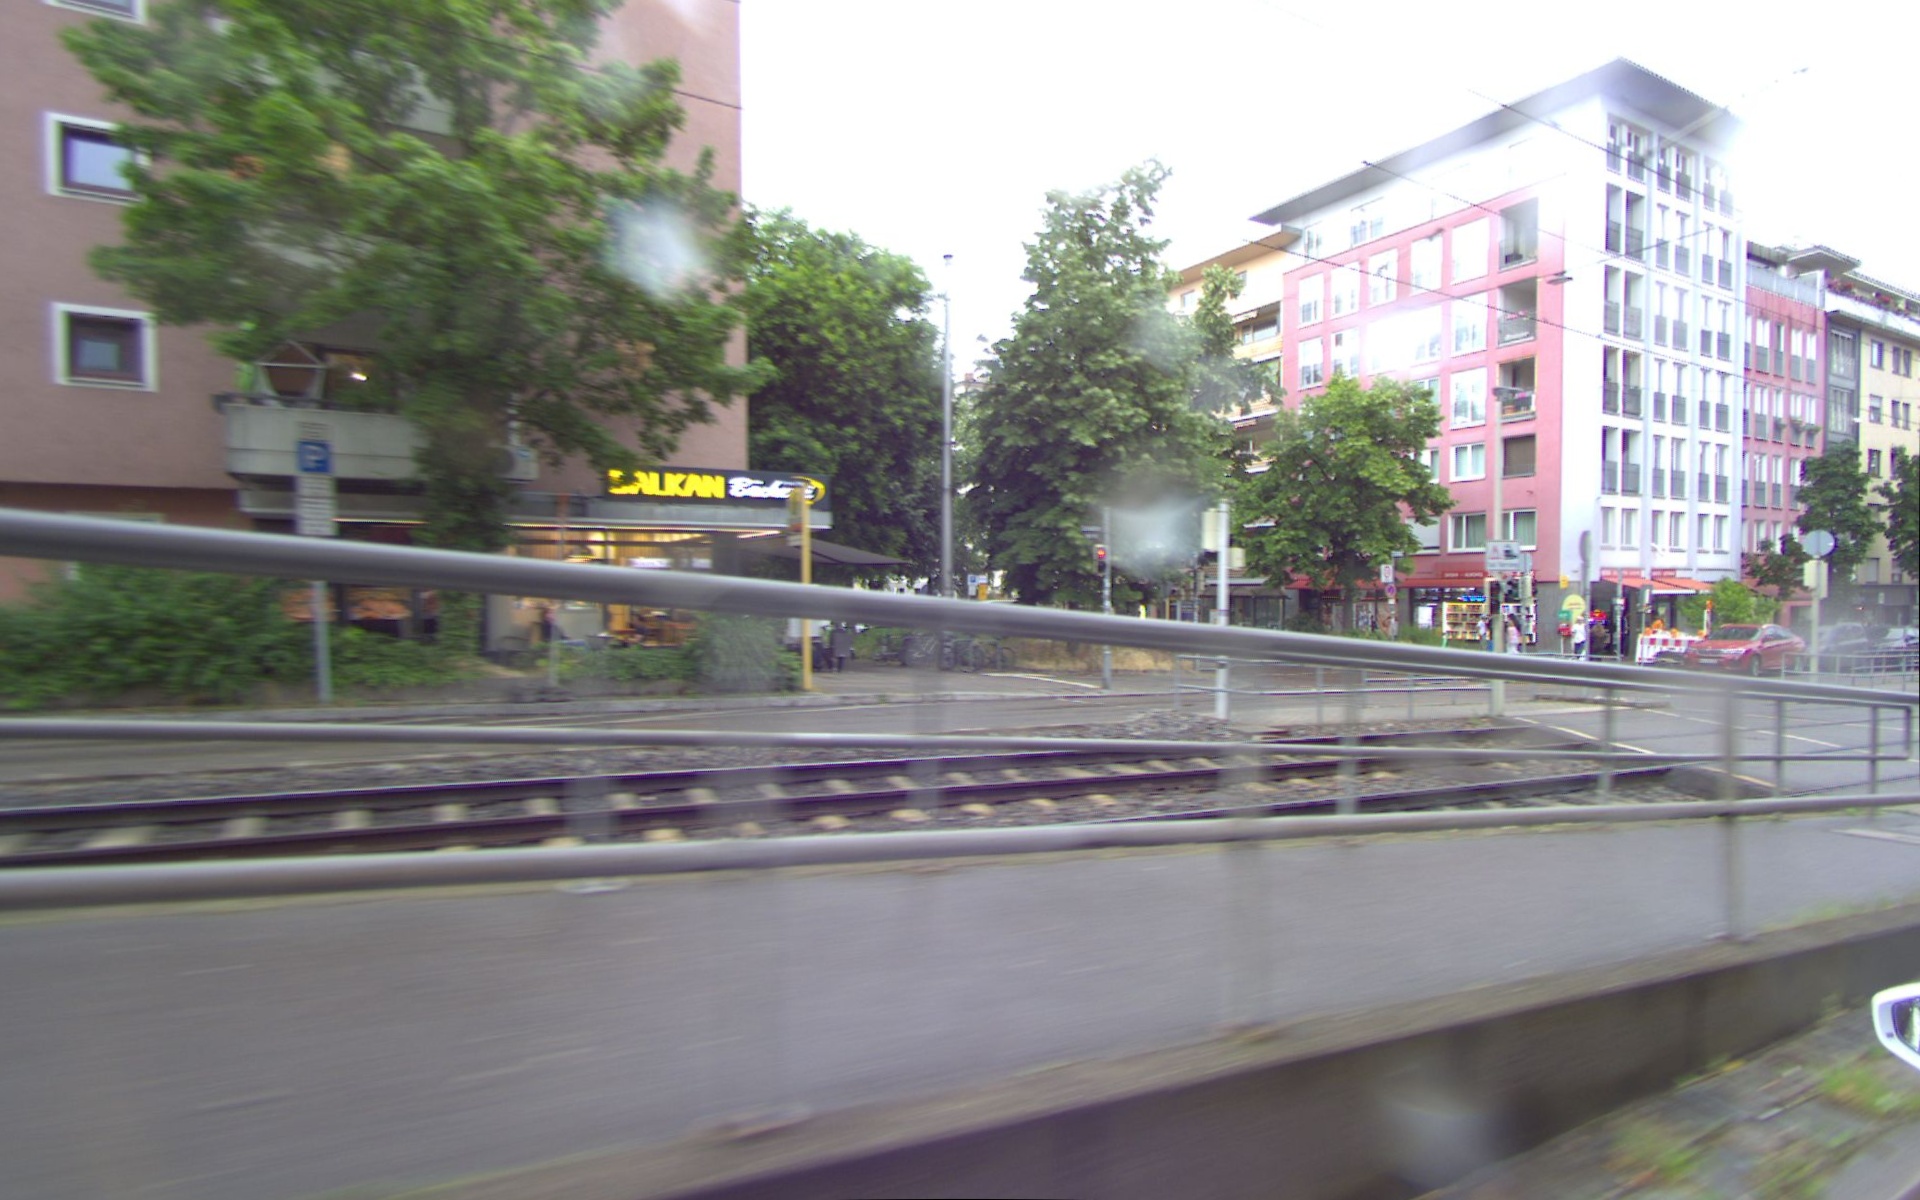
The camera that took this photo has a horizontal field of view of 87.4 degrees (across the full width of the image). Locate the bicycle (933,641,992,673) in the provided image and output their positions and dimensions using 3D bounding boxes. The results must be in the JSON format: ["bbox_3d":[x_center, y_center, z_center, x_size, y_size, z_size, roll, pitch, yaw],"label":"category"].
[{"bbox_3d":[0.082,1.537,27.010,1.627,0.827,0.337,2,-1,-31],"label":"bicycle"}]

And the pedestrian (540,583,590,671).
[{"bbox_3d":[-7.460,0.514,18.973,0.808,1.617,0.556,1,-1,-29],"label":"pedestrian"}]

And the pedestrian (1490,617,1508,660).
[{"bbox_3d":[21.238,1.507,39.565,0.535,1.653,0.574,2,1,24],"label":"pedestrian"}]

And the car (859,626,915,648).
[{"bbox_3d":[-4.807,2.396,65.488,2.072,1.392,4.416,2,-1,-28],"label":"car"}]

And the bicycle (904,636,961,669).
[{"bbox_3d":[-0.775,1.491,28.493,1.626,0.923,0.338,2,-1,-28],"label":"bicycle"}]

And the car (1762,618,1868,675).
[{"bbox_3d":[30.044,1.586,35.275,4.274,1.883,1.697,1,-1,-33],"label":"car"}]

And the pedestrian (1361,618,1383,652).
[{"bbox_3d":[17.556,1.475,42.799,0.644,1.424,0.556,1,1,-32],"label":"pedestrian"}]

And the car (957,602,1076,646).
[{"bbox_3d":[3.435,1.459,60.492,7.012,2.567,2.405,1,-1,-29],"label":"car"}]

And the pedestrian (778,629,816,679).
[{"bbox_3d":[-4.019,1.314,24.786,0.665,1.193,0.607,0,-1,28],"label":"pedestrian"}]

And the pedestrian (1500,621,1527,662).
[{"bbox_3d":[20.987,1.570,38.082,0.649,1.481,0.635,1,1,-32],"label":"pedestrian"}]

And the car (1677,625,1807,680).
[{"bbox_3d":[25.258,1.631,32.421,4.497,1.633,1.718,1,-1,-29],"label":"car"}]

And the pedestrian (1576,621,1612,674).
[{"bbox_3d":[20.517,1.516,32.522,0.791,1.653,0.882,-1,1,19],"label":"pedestrian"}]

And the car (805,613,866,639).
[{"bbox_3d":[-10.032,2.103,81.035,4.393,2.056,2.083,1,-1,-29],"label":"car"}]

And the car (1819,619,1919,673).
[{"bbox_3d":[33.924,1.678,37.414,4.333,1.883,1.792,1,-1,-33],"label":"car"}]

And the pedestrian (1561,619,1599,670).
[{"bbox_3d":[21.733,1.558,35.216,0.977,1.720,0.812,1,1,-38],"label":"pedestrian"}]

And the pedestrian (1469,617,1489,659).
[{"bbox_3d":[20.777,1.515,40.213,0.570,1.653,0.609,2,1,34],"label":"pedestrian"}]

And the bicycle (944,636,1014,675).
[{"bbox_3d":[0.503,1.443,26.053,1.851,0.972,0.477,2,-1,-31],"label":"bicycle"}]

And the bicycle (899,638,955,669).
[{"bbox_3d":[-0.947,1.538,28.881,1.626,0.854,0.336,2,-1,-28],"label":"bicycle"}]

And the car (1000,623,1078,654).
[{"bbox_3d":[3.821,1.852,48.951,1.975,1.392,3.971,2,-1,-28],"label":"car"}]

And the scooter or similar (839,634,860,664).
[{"bbox_3d":[-3.786,1.686,34.446,0.280,0.993,1.124,1,-1,-29],"label":"scooter or similar"}]

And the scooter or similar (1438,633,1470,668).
[{"bbox_3d":[17.169,1.747,34.909,1.197,1.207,0.387,2,-1,-29],"label":"scooter or similar"}]

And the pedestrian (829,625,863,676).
[{"bbox_3d":[-2.720,1.199,23.954,0.600,1.193,0.674,1,-1,-25],"label":"pedestrian"}]

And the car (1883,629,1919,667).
[{"bbox_3d":[38.934,1.921,40.327,4.274,1.455,1.830,1,-1,-34],"label":"car"}]

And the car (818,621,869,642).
[{"bbox_3d":[-8.179,2.198,70.384,2.072,1.392,4.416,2,-1,-28],"label":"car"}]

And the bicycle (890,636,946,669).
[{"bbox_3d":[-1.224,1.529,29.314,1.626,0.915,0.338,2,-1,-28],"label":"bicycle"}]
